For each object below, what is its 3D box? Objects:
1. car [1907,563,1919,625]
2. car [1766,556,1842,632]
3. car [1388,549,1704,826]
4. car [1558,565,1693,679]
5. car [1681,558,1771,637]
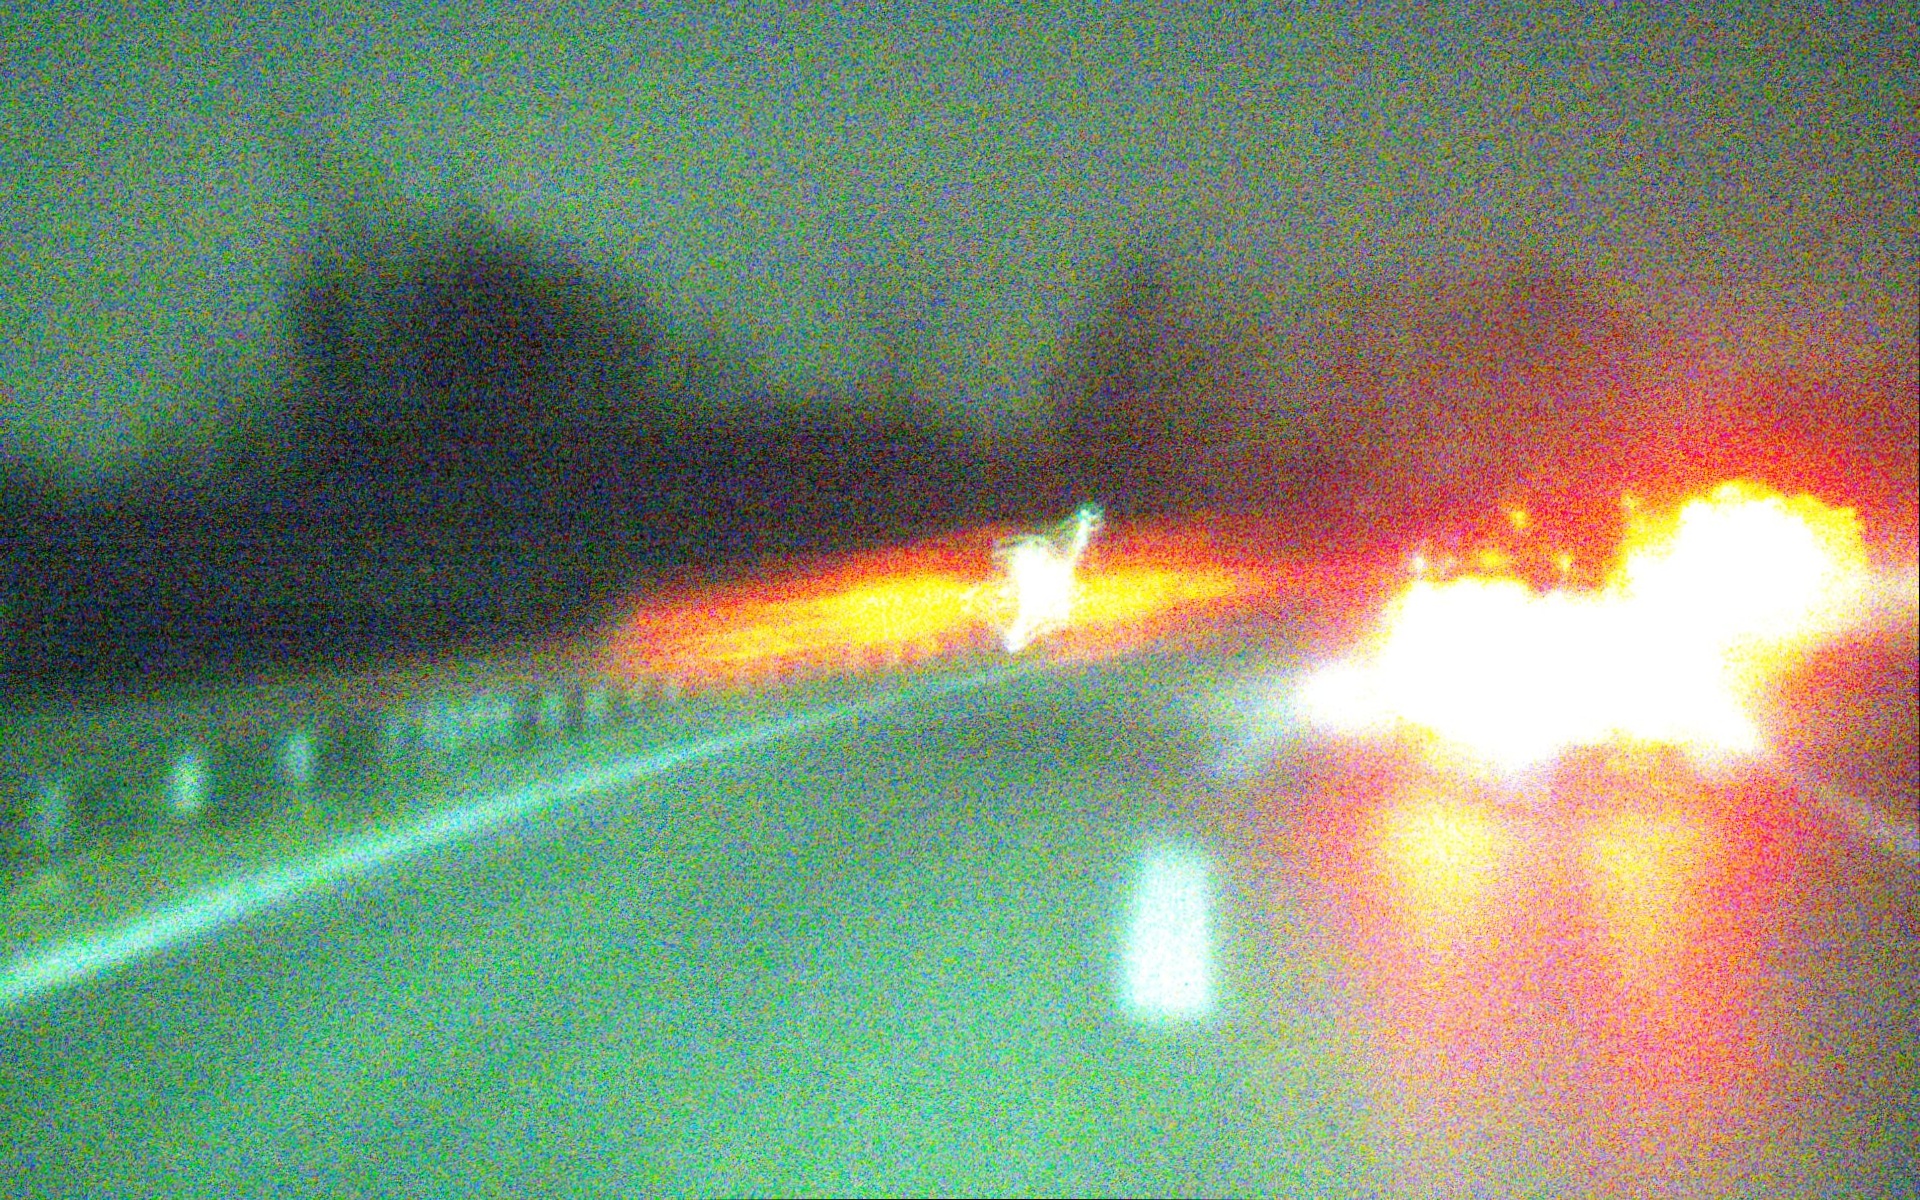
[{"bbox_3d":[32.196,-0.201,113.130,1.897,1.991,4.042,0,1,17],"label":"car"},{"bbox_3d":[23.323,-0.173,94.968,1.897,2.033,4.042,1,1,15],"label":"car"},{"bbox_3d":[3.824,0.505,22.950,1.861,1.641,4.067,1,1,7],"label":"car"},{"bbox_3d":[11.004,0.357,56.671,1.862,1.702,4.066,3,0,14],"label":"car"},{"bbox_3d":[17.353,-0.072,77.851,1.896,1.714,4.043,1,1,13],"label":"car"}]
